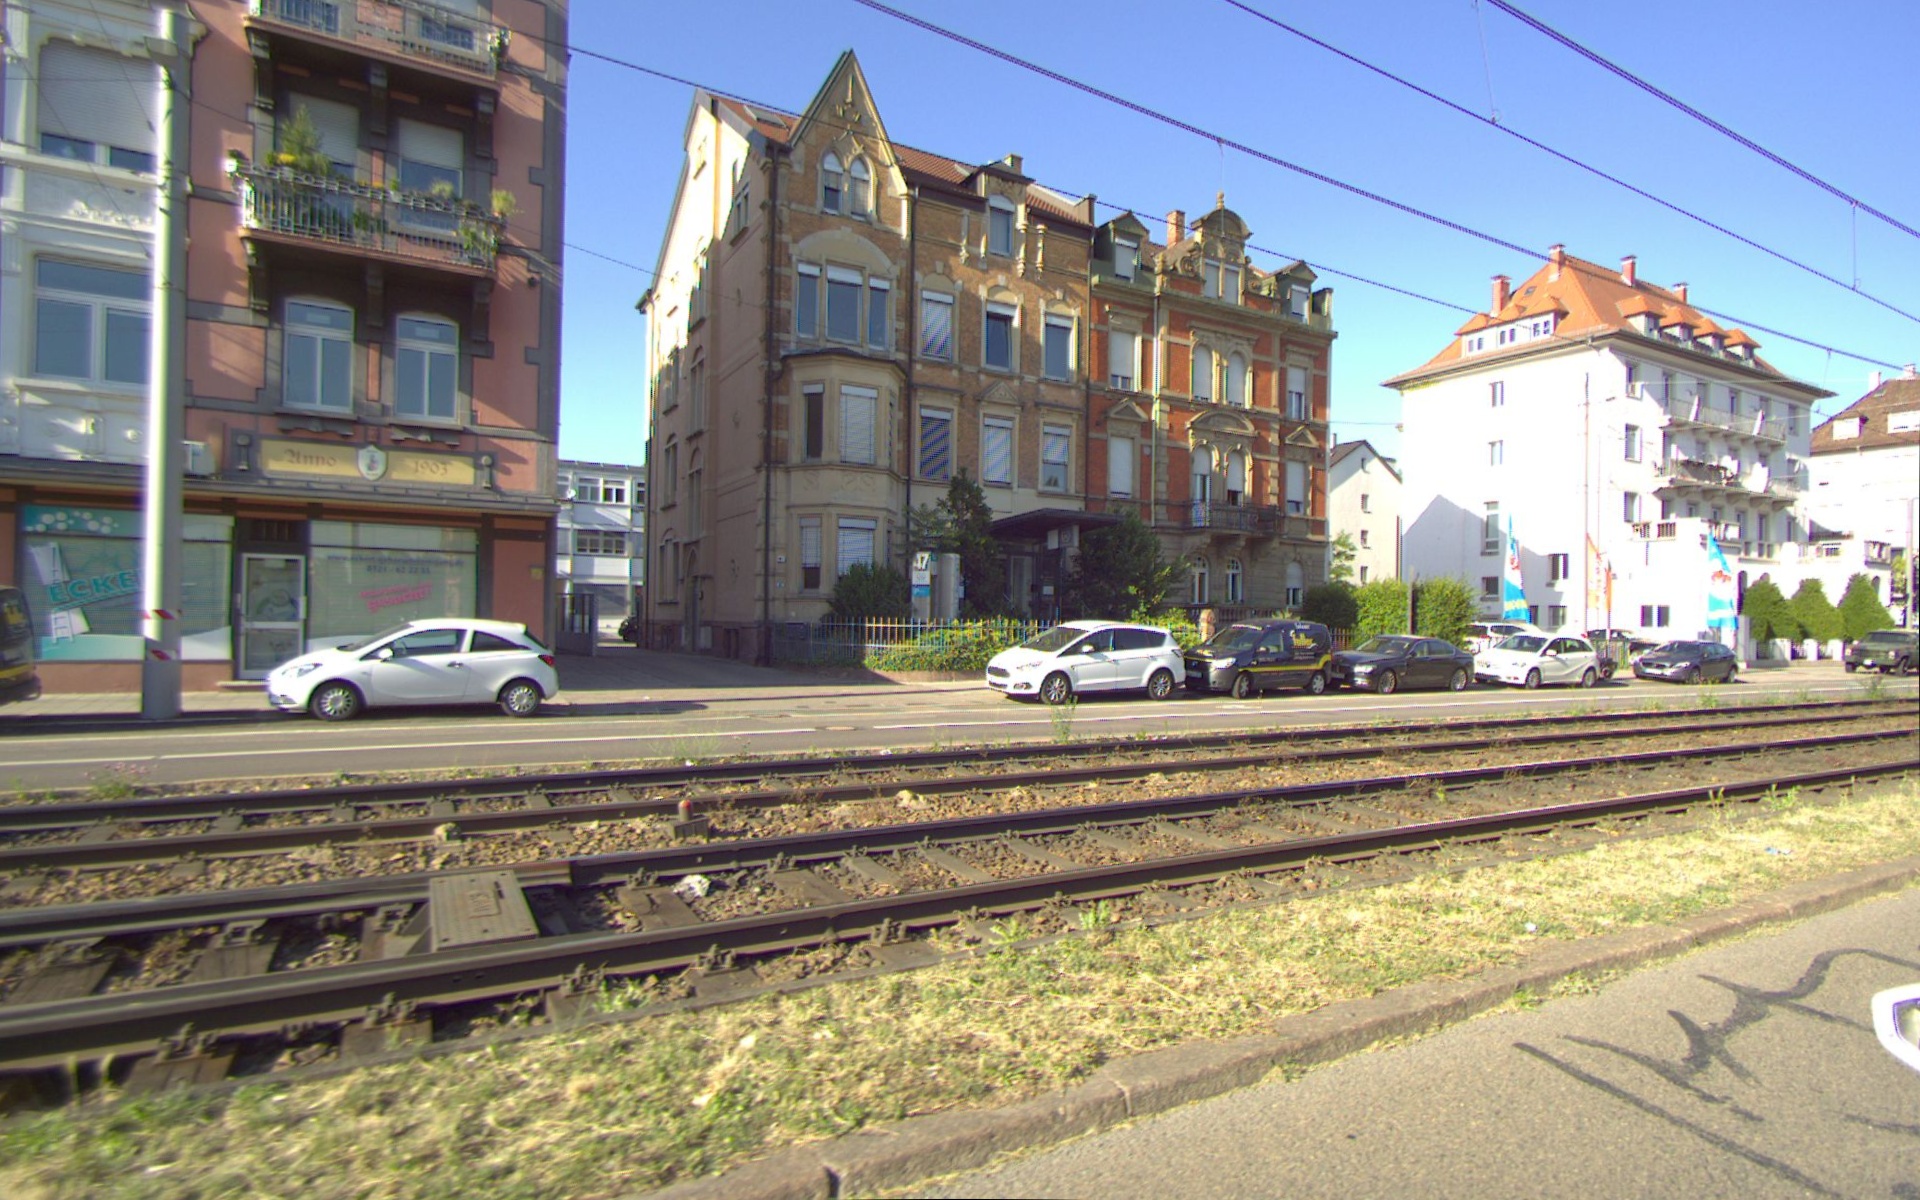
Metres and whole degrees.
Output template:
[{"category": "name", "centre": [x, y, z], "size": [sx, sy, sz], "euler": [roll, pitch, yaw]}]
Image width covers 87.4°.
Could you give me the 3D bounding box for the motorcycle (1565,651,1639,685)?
[{"category": "motorcycle", "centre": [20.976, 2.215, 32.823], "size": [2.116, 0.967, 0.826], "euler": [3, 0, -16]}]

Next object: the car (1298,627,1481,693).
[{"category": "car", "centre": [11.591, 1.585, 27.050], "size": [4.780, 1.581, 1.913], "euler": [2, 0, -28]}]

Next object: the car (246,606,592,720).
[{"category": "car", "centre": [-8.450, 0.946, 15.994], "size": [4.575, 1.559, 1.910], "euler": [2, 0, -32]}]

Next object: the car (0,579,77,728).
[{"category": "car", "centre": [-14.031, 0.605, 12.208], "size": [4.675, 1.831, 1.651], "euler": [2, 0, -31]}]

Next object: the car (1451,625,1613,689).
[{"category": "car", "centre": [17.205, 1.677, 30.176], "size": [4.780, 1.717, 1.913], "euler": [2, 0, -28]}]

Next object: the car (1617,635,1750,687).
[{"category": "car", "centre": [24.971, 2.059, 34.635], "size": [4.787, 1.480, 1.910], "euler": [2, 4, -31]}]

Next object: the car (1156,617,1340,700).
[{"category": "car", "centre": [7.095, 1.375, 24.616], "size": [4.451, 1.804, 1.909], "euler": [2, 0, -34]}]

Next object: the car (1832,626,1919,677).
[{"category": "car", "centre": [41.348, 2.285, 44.617], "size": [5.521, 2.037, 2.069], "euler": [2, 1, -28]}]

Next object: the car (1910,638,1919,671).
[{"category": "car", "centre": [46.790, 2.654, 47.363], "size": [4.107, 1.527, 1.629], "euler": [3, 0, -28]}]

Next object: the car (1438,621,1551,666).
[{"category": "car", "centre": [22.311, 1.817, 41.888], "size": [4.502, 1.677, 1.898], "euler": [4, -3, -26]}]

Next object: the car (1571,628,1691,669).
[{"category": "car", "centre": [29.772, 2.119, 44.725], "size": [1.921, 1.655, 4.124], "euler": [-1, -1, -19]}]

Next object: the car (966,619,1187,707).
[{"category": "car", "centre": [2.602, 1.333, 22.106], "size": [4.572, 1.706, 1.912], "euler": [2, 0, -30]}]
